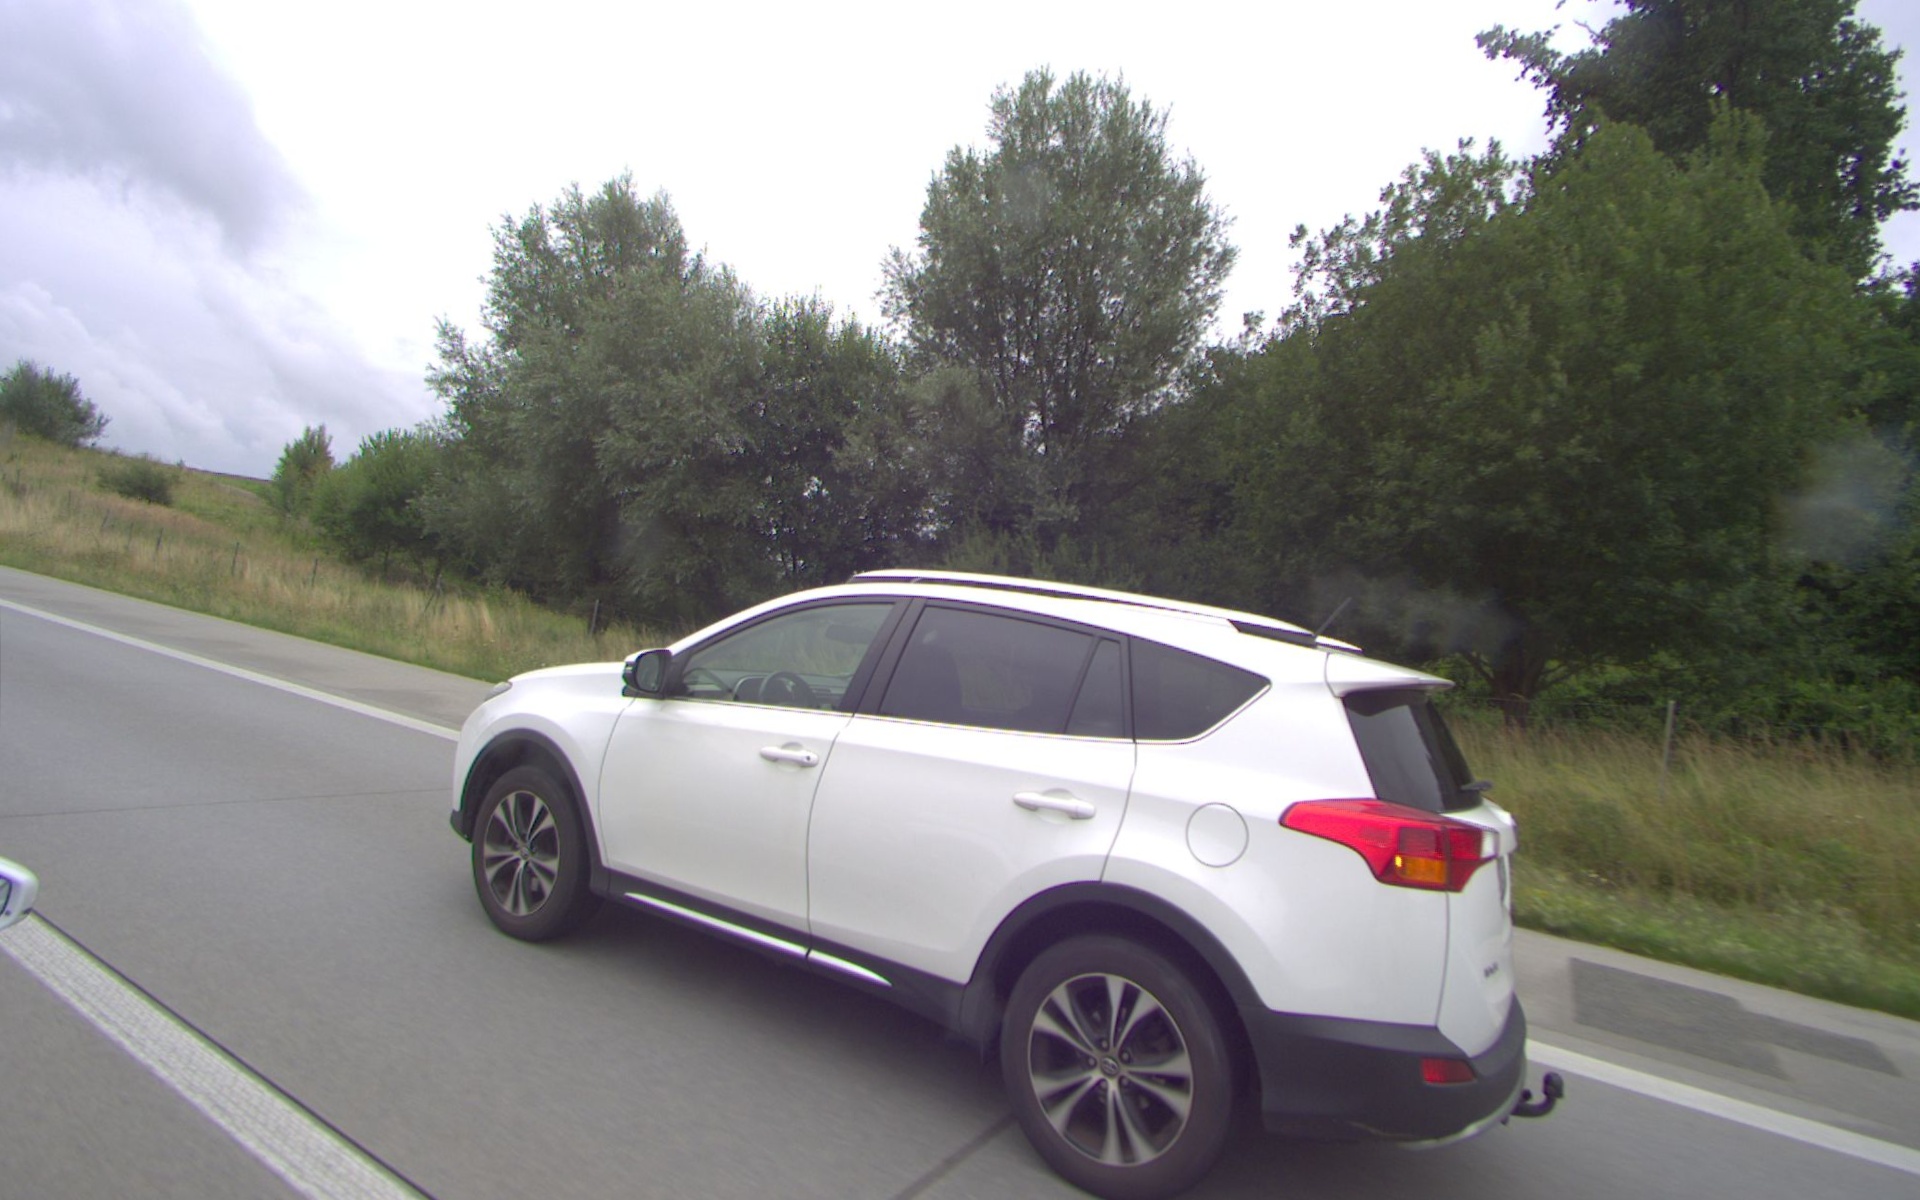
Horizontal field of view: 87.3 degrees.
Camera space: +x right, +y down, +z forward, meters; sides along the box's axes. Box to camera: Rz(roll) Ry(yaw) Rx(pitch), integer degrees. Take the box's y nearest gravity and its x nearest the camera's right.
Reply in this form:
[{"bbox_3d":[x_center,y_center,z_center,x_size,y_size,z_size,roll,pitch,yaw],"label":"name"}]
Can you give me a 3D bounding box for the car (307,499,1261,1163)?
[{"bbox_3d":[-0.909,0.639,4.619,3.918,1.674,1.830,7,-2,31],"label":"car"}]
